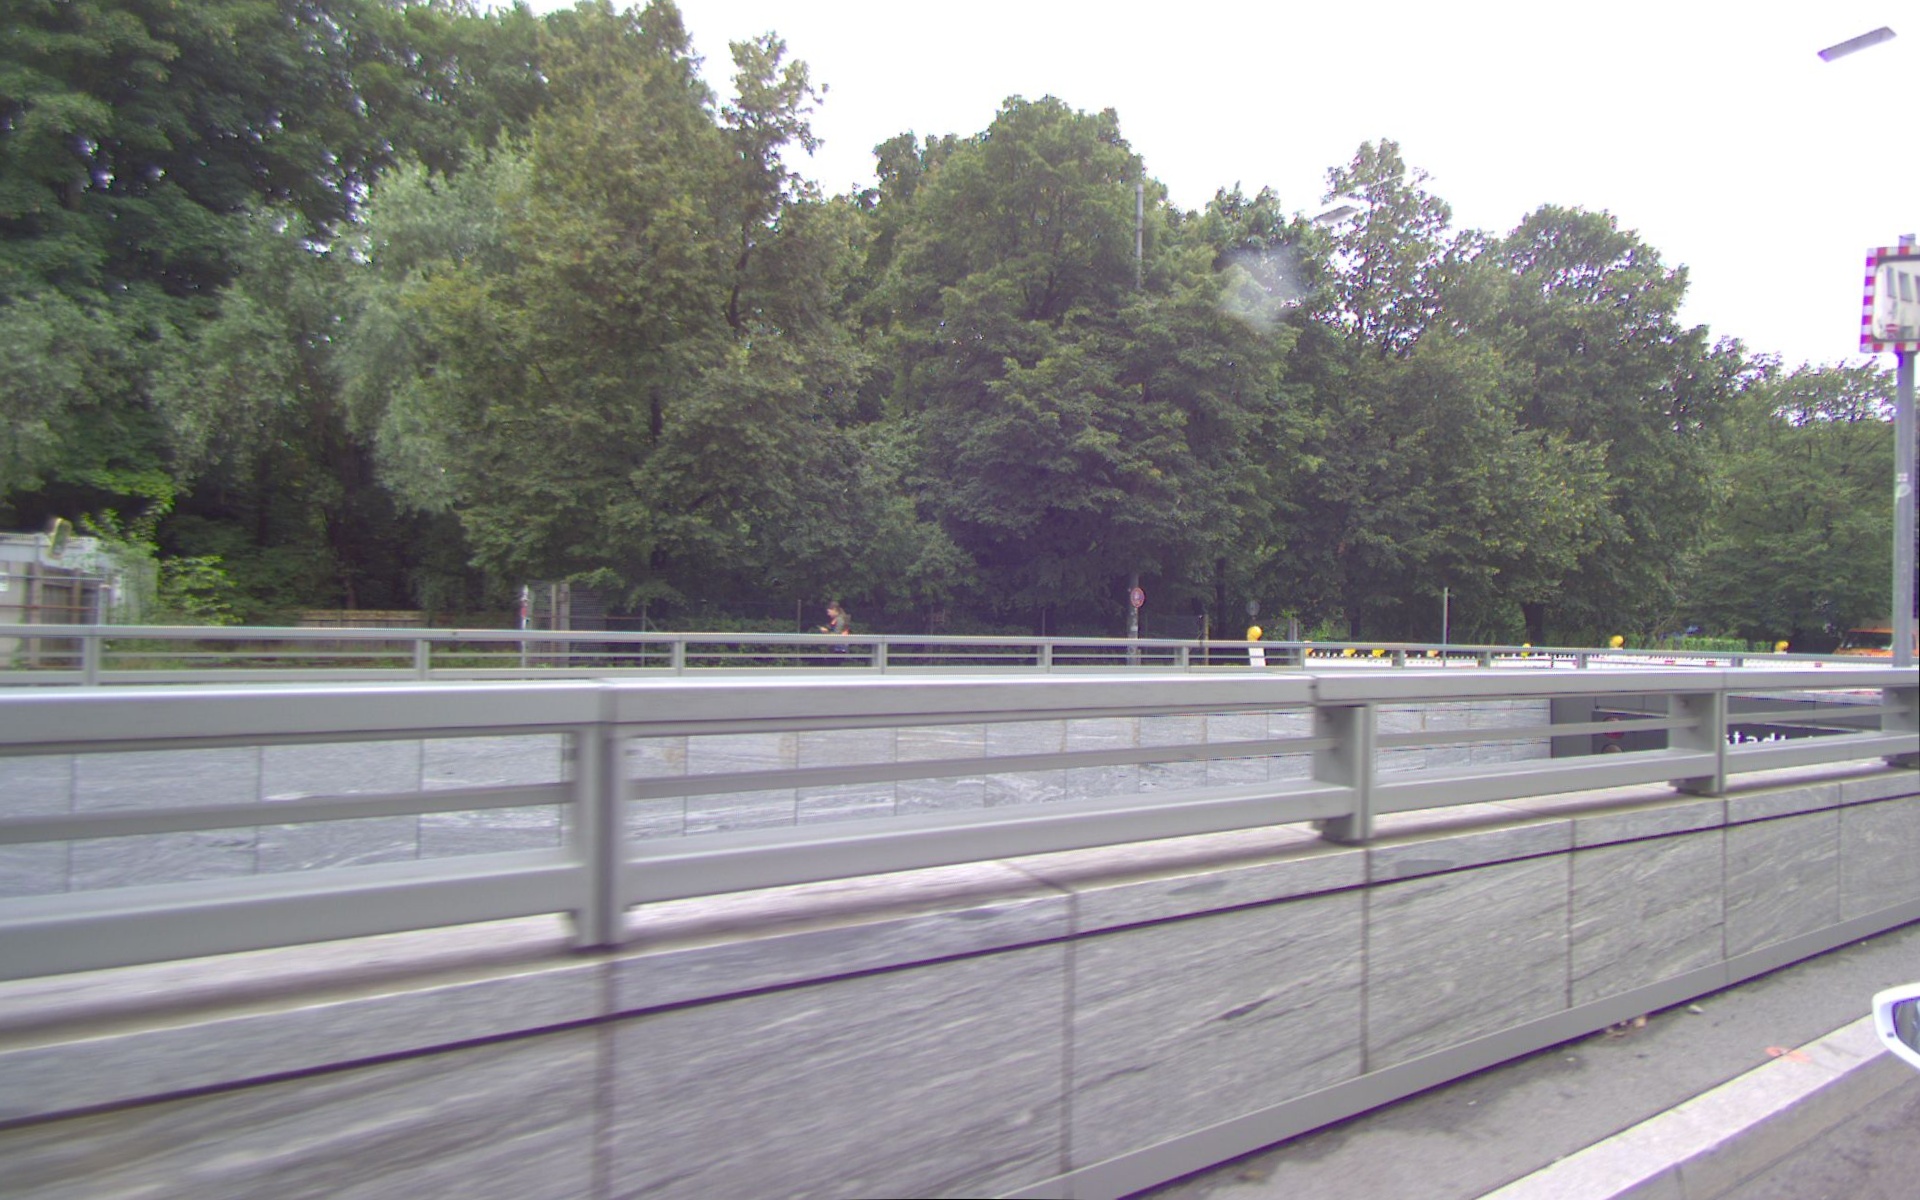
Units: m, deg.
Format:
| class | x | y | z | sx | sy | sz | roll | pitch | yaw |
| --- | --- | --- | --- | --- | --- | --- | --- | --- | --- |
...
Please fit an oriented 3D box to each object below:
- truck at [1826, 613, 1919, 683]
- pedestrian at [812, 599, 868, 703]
| class | x | y | z | sx | sy | sz | roll | pitch | yaw |
| --- | --- | --- | --- | --- | --- | --- | --- | --- | --- |
| truck | 38.412 | 1.985 | 41.644 | 5.799 | 2.764 | 1.985 | 2 | -1 | -29 |
| pedestrian | -1.985 | 0.827 | 16.556 | 0.689 | 1.663 | 0.660 | 2 | -1 | -29 |
